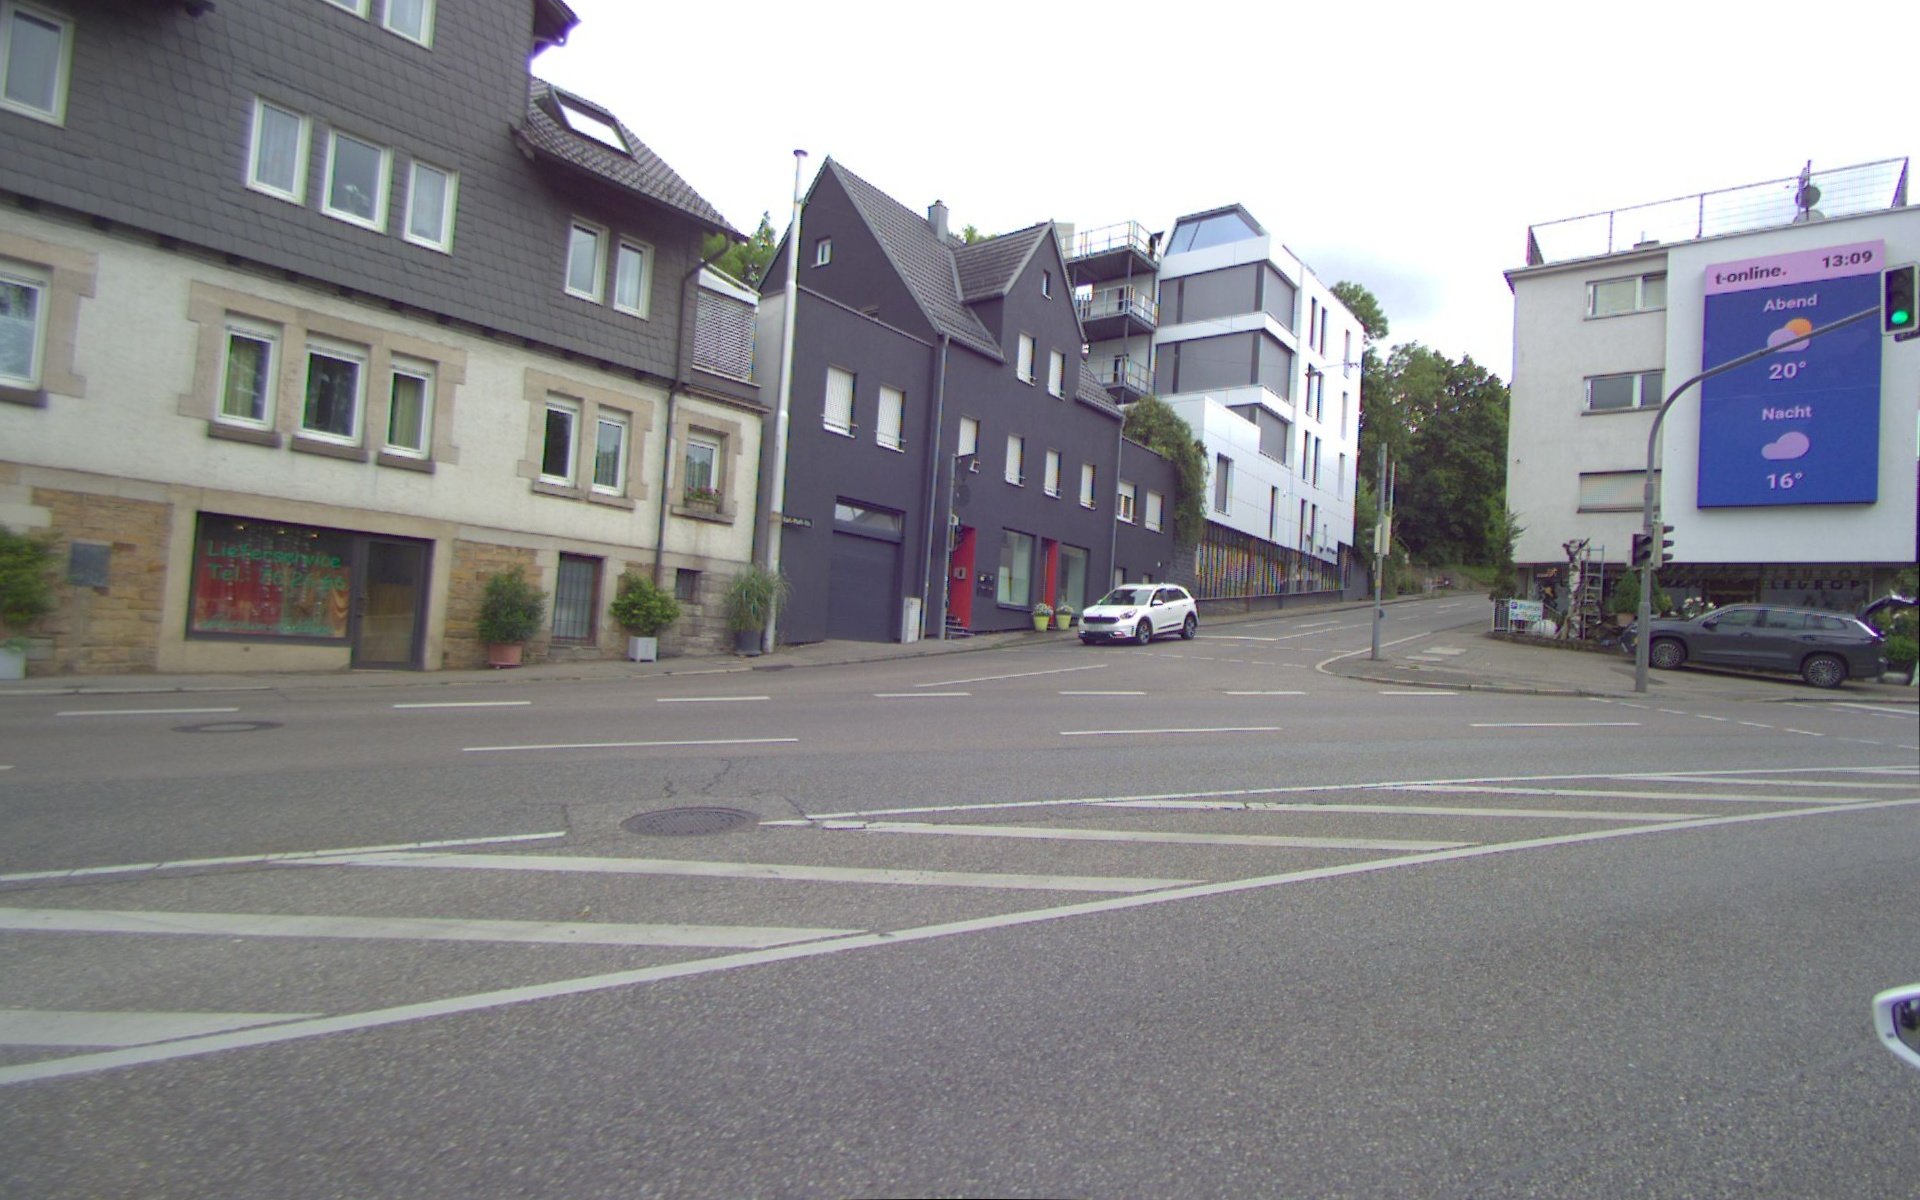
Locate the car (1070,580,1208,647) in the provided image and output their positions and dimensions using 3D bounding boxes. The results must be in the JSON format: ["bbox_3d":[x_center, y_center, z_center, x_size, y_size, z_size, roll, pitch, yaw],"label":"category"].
[{"bbox_3d":[4.912,0.292,27.152,1.859,1.589,4.369,1,2,38],"label":"car"}]

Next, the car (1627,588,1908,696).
[{"bbox_3d":[18.096,0.821,22.794,4.630,1.736,2.308,7,7,39],"label":"car"}]
